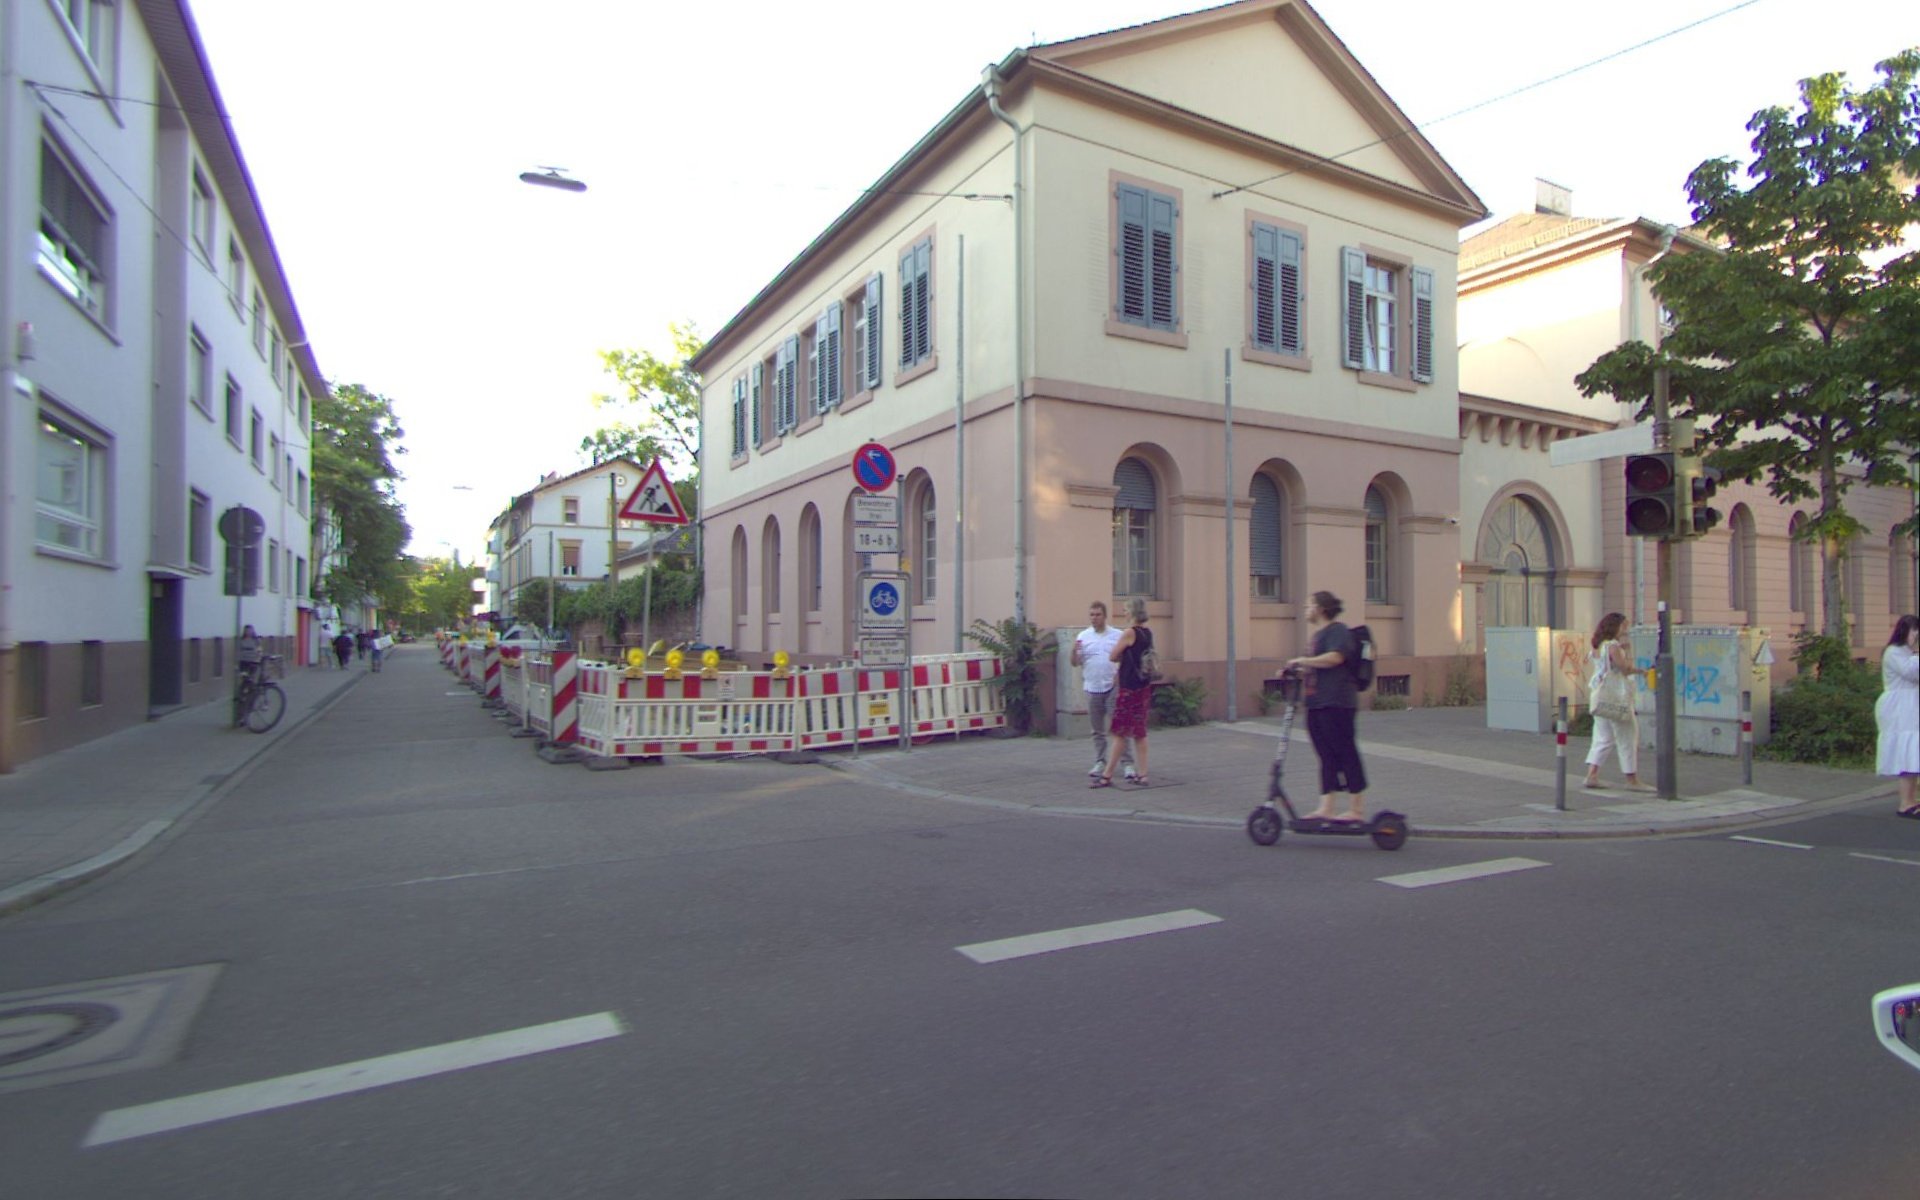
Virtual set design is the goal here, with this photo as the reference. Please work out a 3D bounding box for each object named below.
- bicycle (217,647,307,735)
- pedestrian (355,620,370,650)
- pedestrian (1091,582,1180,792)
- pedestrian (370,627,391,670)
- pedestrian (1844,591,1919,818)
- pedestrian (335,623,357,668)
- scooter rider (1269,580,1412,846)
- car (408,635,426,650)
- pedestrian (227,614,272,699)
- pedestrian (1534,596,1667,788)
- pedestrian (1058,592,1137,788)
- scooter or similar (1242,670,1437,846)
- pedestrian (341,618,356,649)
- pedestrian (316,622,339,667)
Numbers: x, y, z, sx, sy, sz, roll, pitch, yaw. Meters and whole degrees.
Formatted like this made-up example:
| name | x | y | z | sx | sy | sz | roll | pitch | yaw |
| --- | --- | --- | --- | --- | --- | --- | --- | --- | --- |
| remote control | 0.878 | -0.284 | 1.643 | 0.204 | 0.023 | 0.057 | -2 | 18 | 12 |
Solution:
| name | x | y | z | sx | sy | sz | roll | pitch | yaw |
| --- | --- | --- | --- | --- | --- | --- | --- | --- | --- |
| bicycle | -10.594 | 1.330 | 15.207 | 0.719 | 1.160 | 2.207 | 2 | -1 | -45 |
| pedestrian | -34.464 | 2.022 | 57.937 | 0.579 | 1.734 | 0.651 | 5 | -4 | -30 |
| pedestrian | 1.624 | 0.783 | 9.359 | 0.601 | 1.875 | 0.554 | -1 | -1 | -15 |
| pedestrian | -23.806 | 1.999 | 41.269 | 0.579 | 1.734 | 0.651 | 5 | -4 | -30 |
| pedestrian | 8.350 | 0.893 | 8.832 | 0.787 | 1.913 | 0.762 | 1 | -2 | -41 |
| pedestrian | -24.352 | 1.795 | 39.860 | 0.579 | 1.734 | 0.651 | 5 | -4 | -30 |
| scooter rider | 2.693 | 0.780 | 7.177 | 0.856 | 1.815 | 0.496 | 0 | -1 | 9 |
| car | -76.469 | 6.032 | 141.448 | 1.977 | 2.039 | 3.969 | 2 | -4 | -30 |
| pedestrian | -15.010 | 1.184 | 21.225 | 0.579 | 1.734 | 0.651 | 5 | -4 | -30 |
| pedestrian | 6.333 | 0.881 | 9.969 | 0.756 | 1.815 | 0.792 | 1 | 1 | -4 |
| pedestrian | 1.359 | 0.872 | 9.991 | 0.601 | 1.875 | 0.554 | 0 | -1 | -16 |
| scooter or similar | 2.680 | 1.096 | 7.180 | 1.224 | 1.160 | 0.504 | 0 | -2 | 8 |
| pedestrian | -35.158 | 1.925 | 57.741 | 0.579 | 1.734 | 0.651 | 5 | -4 | -30 |
| pedestrian | -25.136 | 1.768 | 39.920 | 0.579 | 1.734 | 0.651 | 5 | -4 | -30 |
